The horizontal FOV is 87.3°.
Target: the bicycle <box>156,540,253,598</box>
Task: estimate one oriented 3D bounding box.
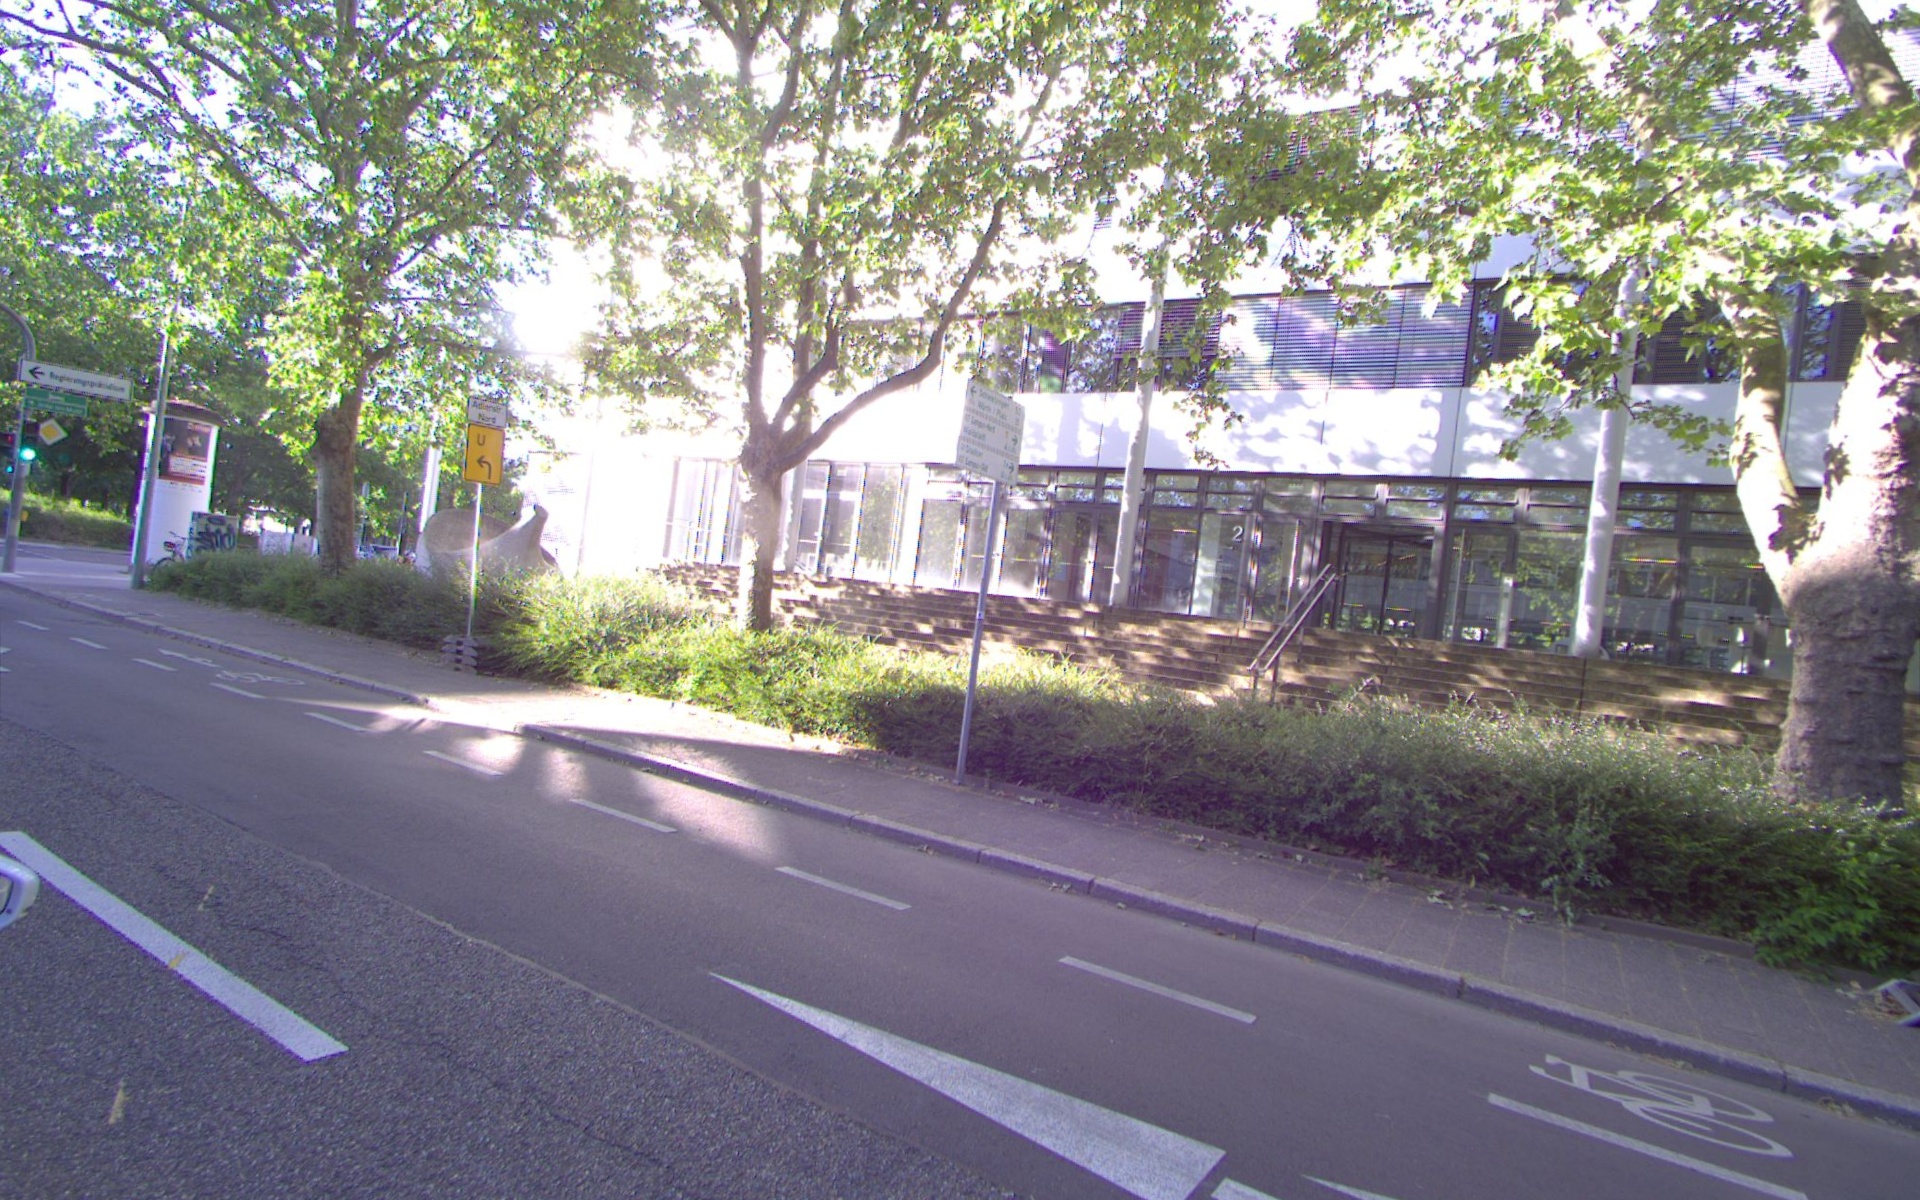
[{"bbox_3d":[-15.909,-0.630,21.247,0.631,1.040,1.887,7,-2,-5],"label":"bicycle"}]
